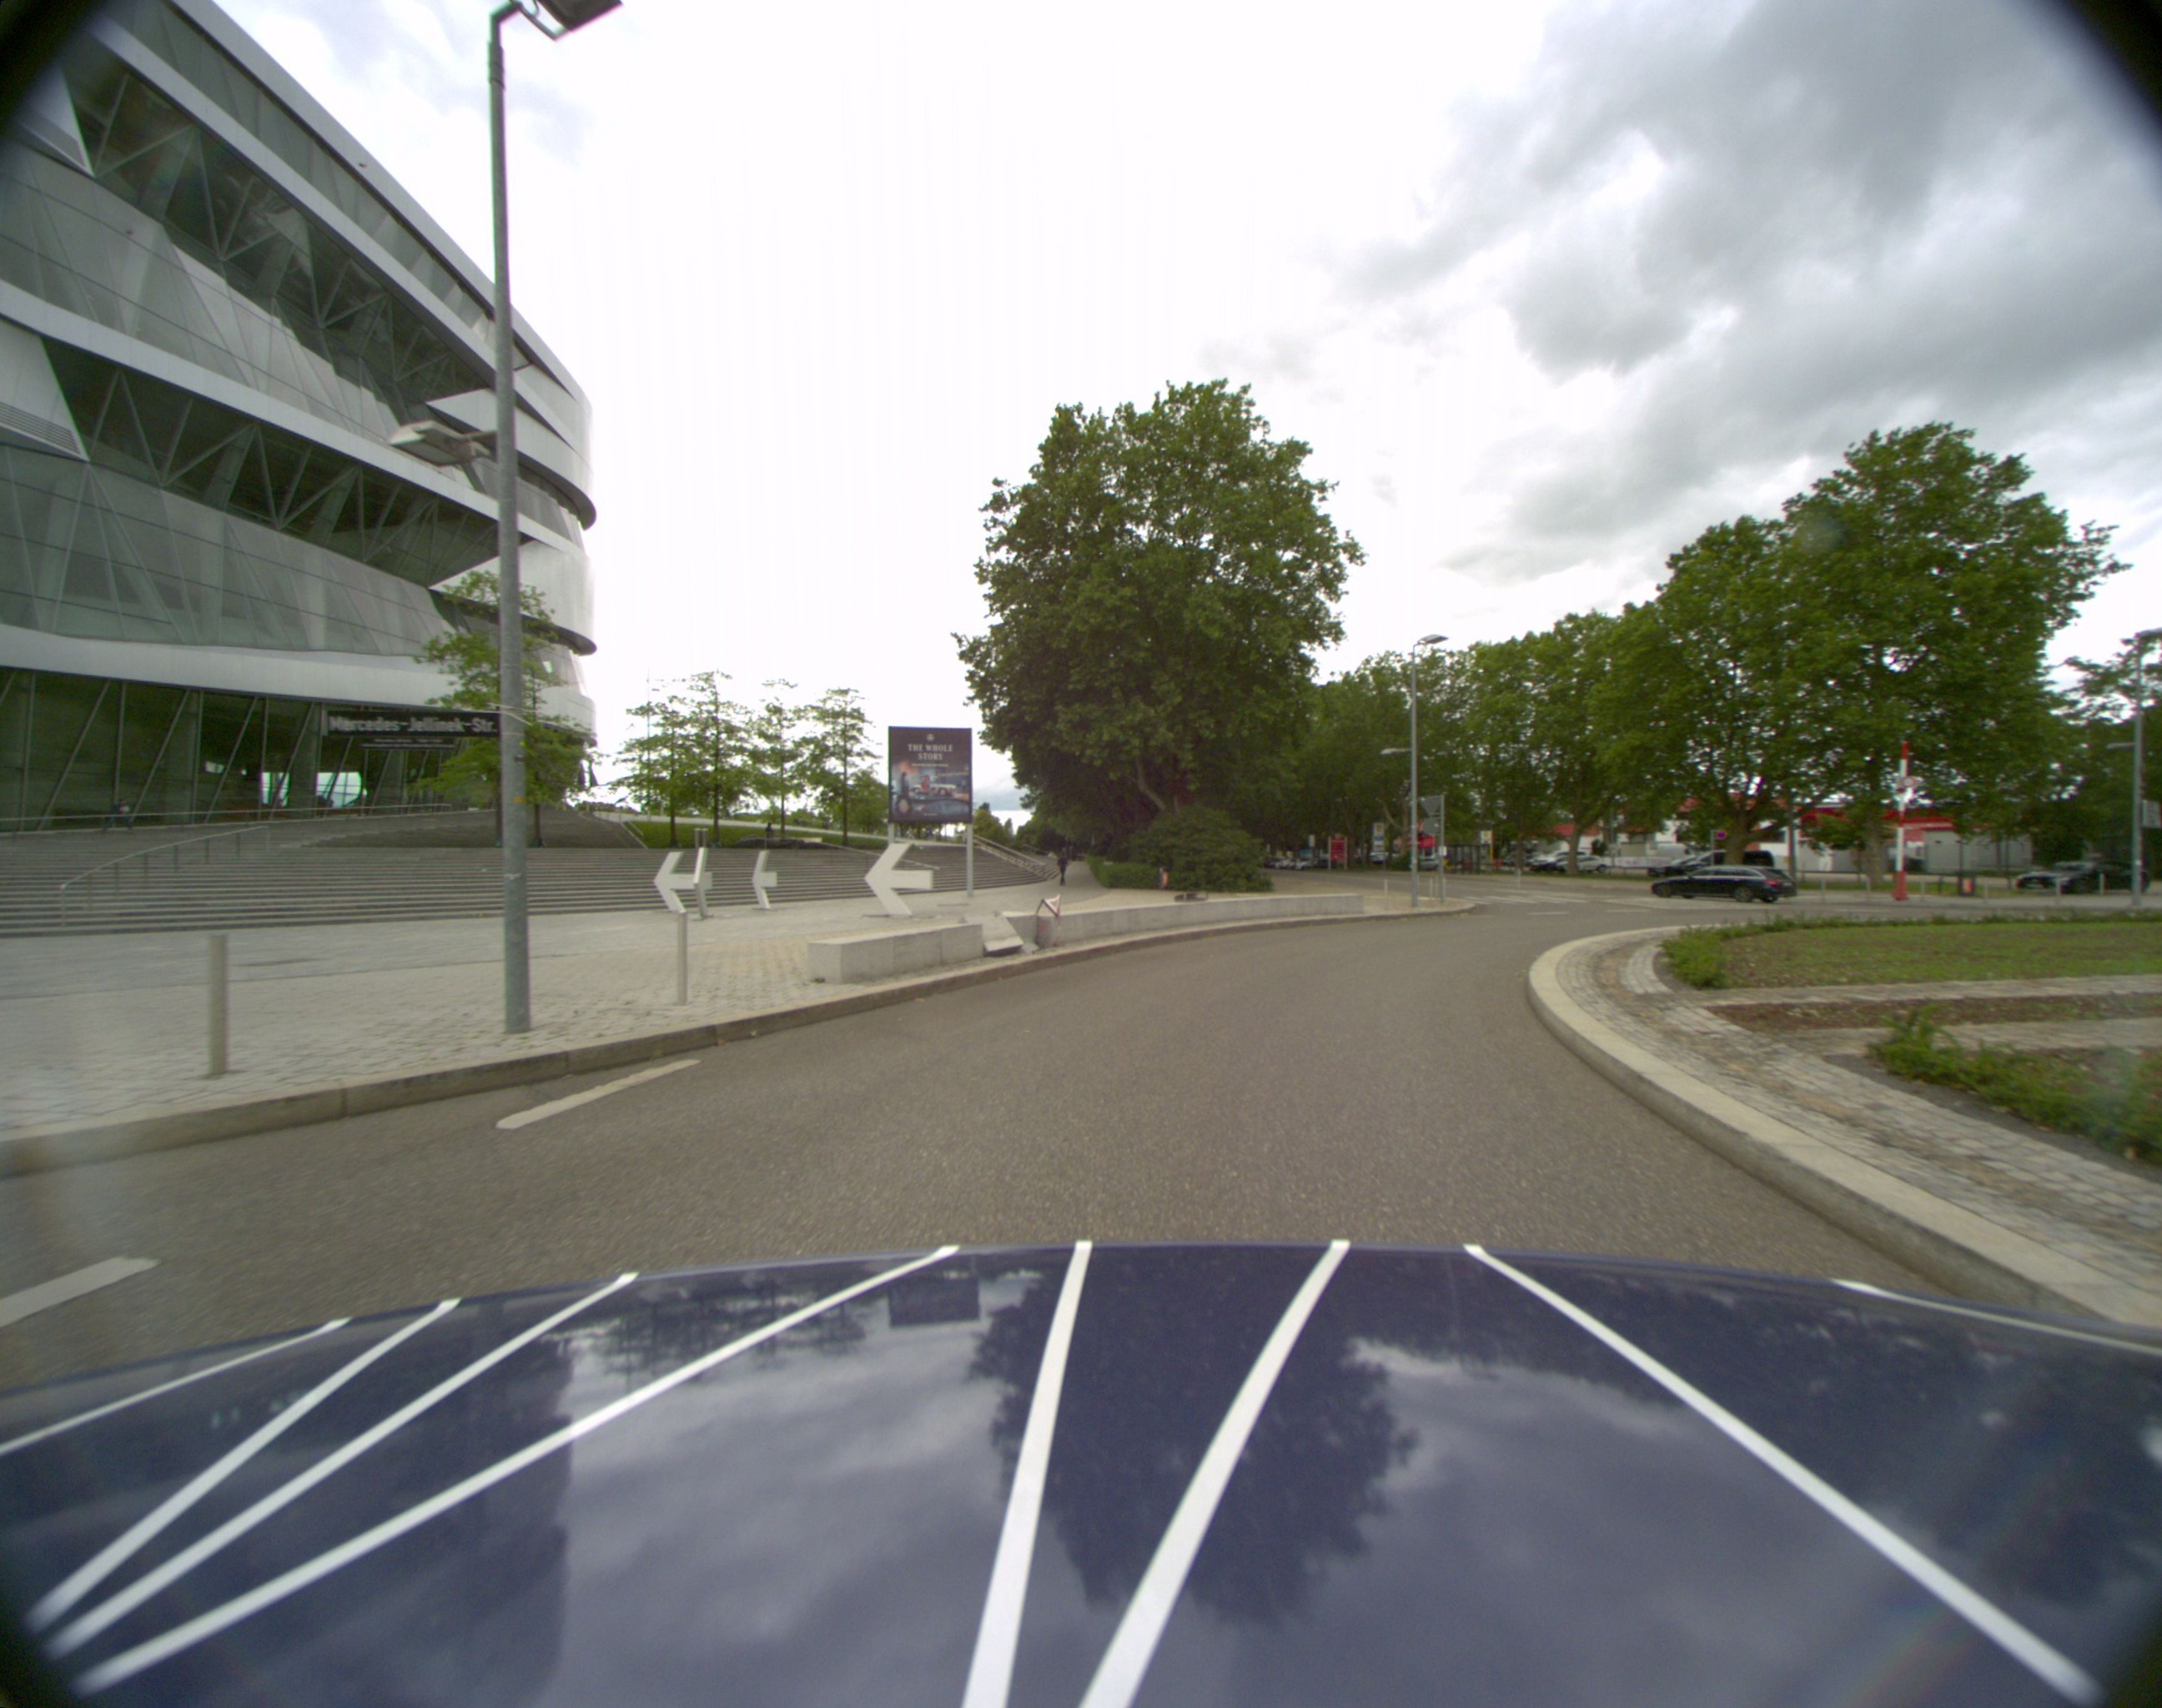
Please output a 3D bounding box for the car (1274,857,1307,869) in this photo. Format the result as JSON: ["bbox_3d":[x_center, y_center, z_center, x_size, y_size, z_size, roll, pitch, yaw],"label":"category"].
[{"bbox_3d":[27.453,1.129,99.656,4.002,1.509,1.873,-1,0,7],"label":"car"}]

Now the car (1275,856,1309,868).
[{"bbox_3d":[27.046,1.034,97.362,4.002,1.509,1.873,-1,0,7],"label":"car"}]

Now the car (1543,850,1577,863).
[{"bbox_3d":[62.462,0.356,99.052,1.796,1.709,3.956,-1,0,-3],"label":"car"}]

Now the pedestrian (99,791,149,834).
[{"bbox_3d":[-43.326,-1.880,34.400,0.852,1.915,0.952,-1,4,4],"label":"pedestrian"}]

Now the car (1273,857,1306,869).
[{"bbox_3d":[28.021,1.182,102.034,4.002,1.509,1.873,-1,0,7],"label":"car"}]

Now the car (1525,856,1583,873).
[{"bbox_3d":[42.448,0.956,68.266,4.002,1.509,1.873,-1,0,6],"label":"car"}]

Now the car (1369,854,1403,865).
[{"bbox_3d":[42.724,0.752,106.439,4.001,1.509,1.873,-1,0,8],"label":"car"}]

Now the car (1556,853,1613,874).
[{"bbox_3d":[43.175,0.830,65.226,3.707,1.767,1.671,-1,0,6],"label":"car"}]

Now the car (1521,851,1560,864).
[{"bbox_3d":[58.746,0.440,97.124,3.954,1.642,1.796,-1,0,-3],"label":"car"}]

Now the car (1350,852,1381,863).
[{"bbox_3d":[42.458,0.519,113.335,4.001,1.509,1.873,-1,0,8],"label":"car"}]

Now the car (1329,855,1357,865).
[{"bbox_3d":[42.990,0.962,124.710,4.002,1.509,1.873,-1,0,7],"label":"car"}]

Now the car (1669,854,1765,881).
[{"bbox_3d":[42.516,0.894,50.858,4.809,1.717,2.012,-1,0,-2],"label":"car"}]

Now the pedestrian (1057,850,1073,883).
[{"bbox_3d":[-0.862,0.684,40.537,0.553,1.751,0.596,-1,0,45],"label":"pedestrian"}]

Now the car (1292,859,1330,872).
[{"bbox_3d":[27.269,1.377,90.127,4.002,1.509,1.873,-1,0,7],"label":"car"}]

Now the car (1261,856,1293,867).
[{"bbox_3d":[27.120,1.066,105.246,4.002,1.509,1.873,-1,0,7],"label":"car"}]

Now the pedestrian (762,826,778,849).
[{"bbox_3d":[-18.900,-0.986,46.195,0.792,1.379,0.681,-1,0,-31],"label":"pedestrian"}]

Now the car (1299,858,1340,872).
[{"bbox_3d":[27.501,1.276,87.749,4.171,1.509,1.873,-1,0,7],"label":"car"}]

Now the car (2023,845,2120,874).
[{"bbox_3d":[58.381,0.318,44.878,1.792,1.642,4.445,-1,-1,28],"label":"car"}]

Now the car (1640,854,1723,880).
[{"bbox_3d":[42.302,0.902,53.597,4.289,1.717,2.012,-1,0,-2],"label":"car"}]

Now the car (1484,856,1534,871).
[{"bbox_3d":[44.015,0.977,78.206,4.002,1.509,1.873,-1,0,7],"label":"car"}]

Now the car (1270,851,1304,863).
[{"bbox_3d":[29.835,0.493,110.308,4.433,1.642,1.797,-1,0,2],"label":"car"}]

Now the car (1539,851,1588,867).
[{"bbox_3d":[54.085,0.561,85.151,4.434,1.642,1.796,-1,0,-3],"label":"car"}]

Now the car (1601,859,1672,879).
[{"bbox_3d":[42.463,1.137,58.175,4.002,1.509,1.873,-1,0,7],"label":"car"}]

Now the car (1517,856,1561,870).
[{"bbox_3d":[53.520,1.034,88.759,4.005,1.509,1.872,-1,0,-2],"label":"car"}]

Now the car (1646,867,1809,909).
[{"bbox_3d":[26.020,1.308,30.809,1.799,1.555,4.719,-1,-1,-25],"label":"car"}]

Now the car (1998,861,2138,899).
[{"bbox_3d":[42.460,1.106,32.760,3.823,1.516,1.779,-1,0,-2],"label":"car"}]
